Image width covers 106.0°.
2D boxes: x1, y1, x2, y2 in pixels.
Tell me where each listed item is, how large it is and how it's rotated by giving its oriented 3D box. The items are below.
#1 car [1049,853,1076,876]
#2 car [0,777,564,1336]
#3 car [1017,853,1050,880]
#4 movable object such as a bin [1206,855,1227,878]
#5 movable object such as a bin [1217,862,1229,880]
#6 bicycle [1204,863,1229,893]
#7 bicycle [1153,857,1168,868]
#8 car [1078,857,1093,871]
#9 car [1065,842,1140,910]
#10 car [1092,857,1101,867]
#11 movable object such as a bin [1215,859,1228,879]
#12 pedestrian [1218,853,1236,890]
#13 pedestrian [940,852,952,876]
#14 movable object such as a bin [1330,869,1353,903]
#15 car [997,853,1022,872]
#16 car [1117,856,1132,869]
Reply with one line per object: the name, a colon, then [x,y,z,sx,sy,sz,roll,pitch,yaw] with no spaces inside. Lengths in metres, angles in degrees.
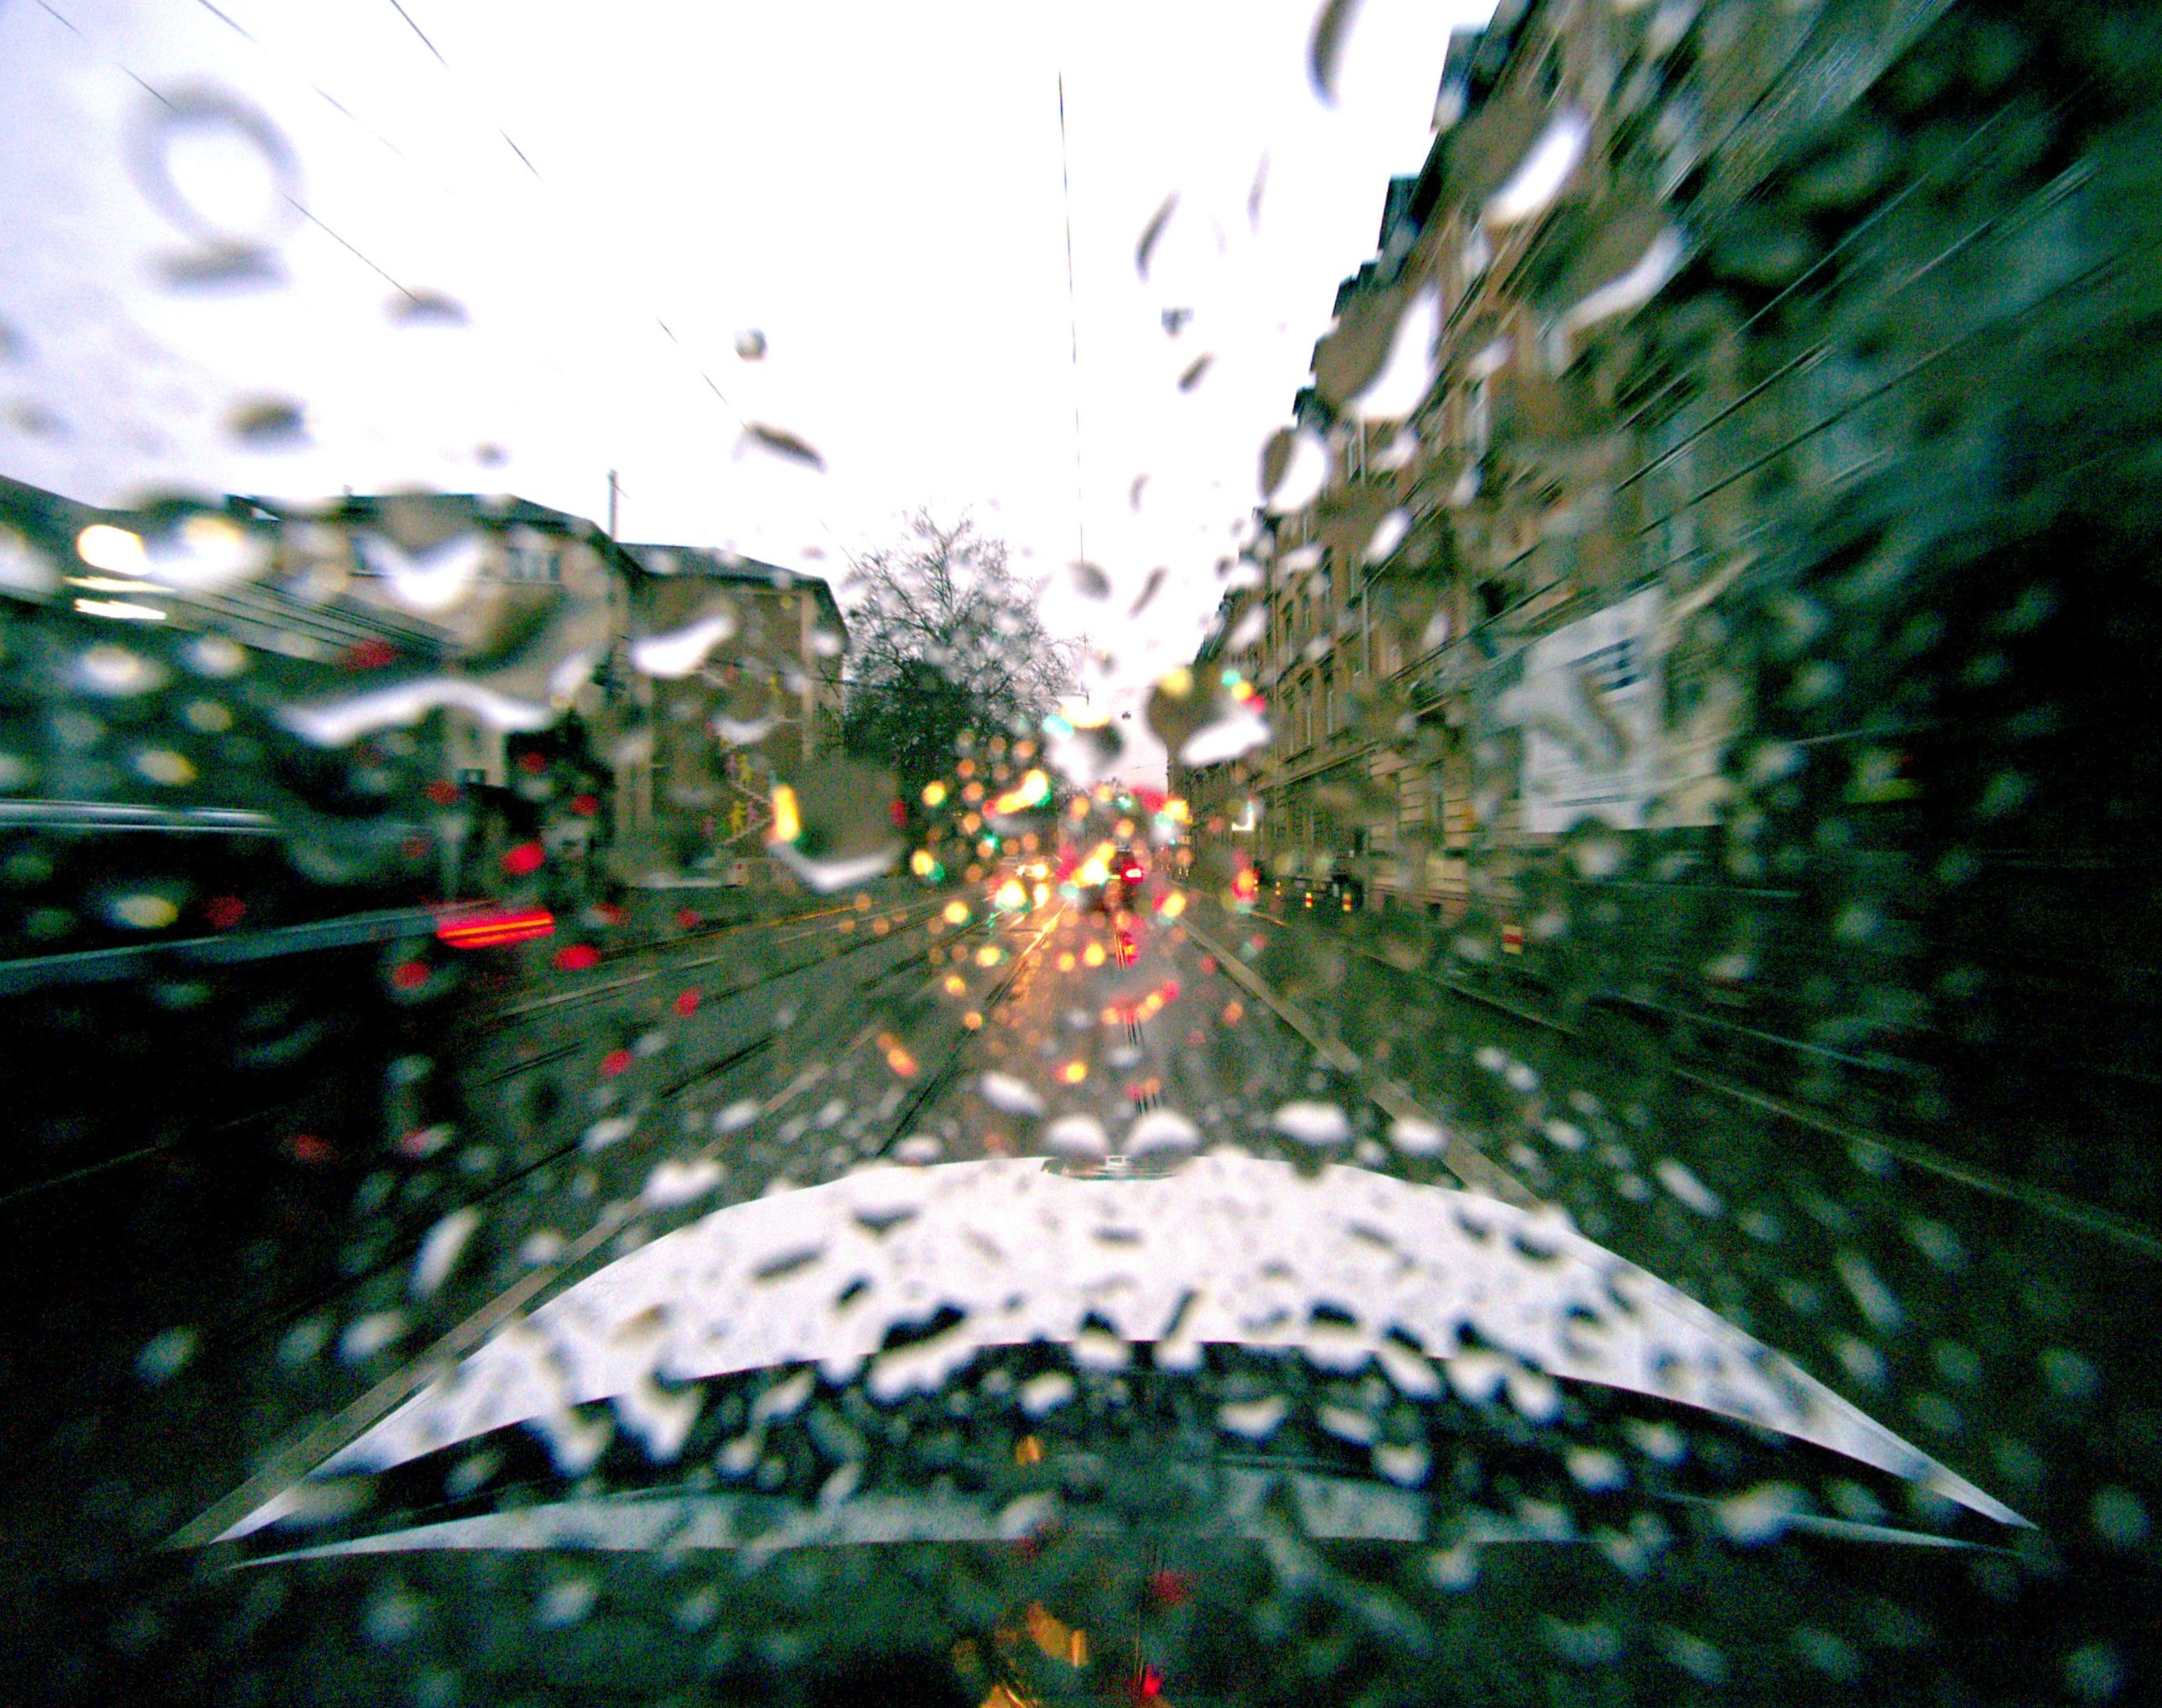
car: [-1.952,1.100,87.444,2.437,2.347,5.847,-1,-1,2]
car: [-4.247,0.638,2.747,1.869,1.710,4.761,-1,0,1]
car: [-2.709,0.684,47.173,1.524,1.481,3.563,-1,0,2]
movable object such as a bin: [7.706,0.722,46.399,0.886,1.288,1.260,-1,0,-5]
movable object such as a bin: [7.402,0.886,42.433,0.490,0.929,0.422,-1,0,-25]
bicycle: [5.384,0.936,32.427,0.681,1.156,2.189,0,-1,2]
bicycle: [8.395,0.918,85.813,0.795,1.144,2.230,0,-1,-17]
car: [0.753,1.477,121.070,1.985,2.014,4.004,0,-1,4]
car: [0.724,0.608,24.175,1.984,1.842,4.005,0,0,4]
car: [3.293,1.756,173.770,1.986,2.014,4.001,0,-1,2]
movable object such as a bin: [7.706,0.834,44.677,0.606,1.082,0.602,-1,0,17]
pedestrian: [6.890,0.831,38.436,0.829,1.701,0.956,0,-1,10]
pedestrian: [-10.111,0.741,61.048,0.819,1.815,1.008,0,-1,-4]
movable object such as a bin: [7.304,0.905,22.836,0.505,0.931,0.507,0,0,0]
car: [-6.296,0.744,72.217,1.979,1.615,4.425,0,-1,-2]
car: [6.111,1.184,114.993,1.984,1.842,4.005,0,0,4]
